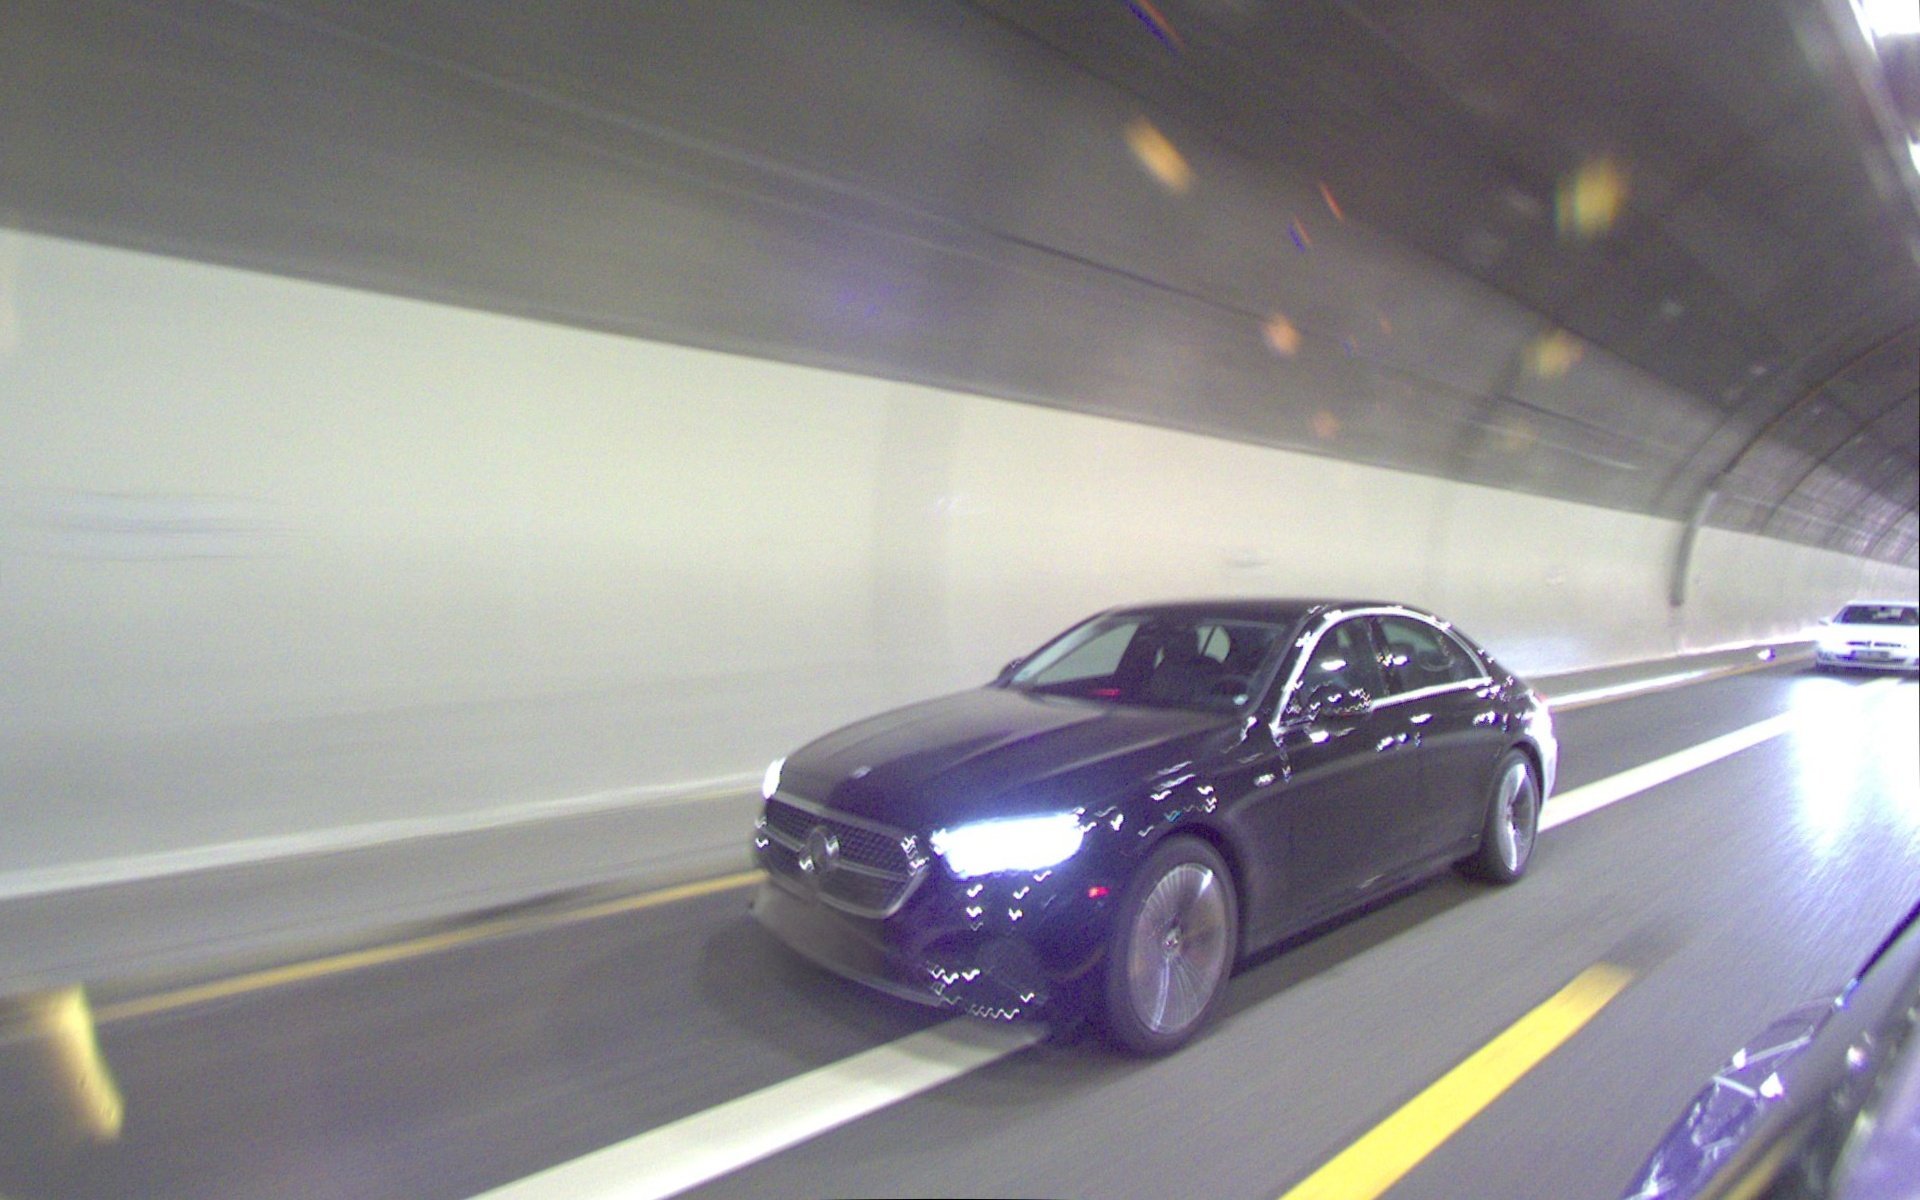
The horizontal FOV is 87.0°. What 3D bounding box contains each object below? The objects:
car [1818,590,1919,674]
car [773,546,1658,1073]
[{"bbox_3d":[18.697,0.593,20.096,3.961,1.479,1.802,0,2,-39],"label":"car"},{"bbox_3d":[1.671,0.557,5.184,4.867,1.490,1.930,0,2,-41],"label":"car"}]
